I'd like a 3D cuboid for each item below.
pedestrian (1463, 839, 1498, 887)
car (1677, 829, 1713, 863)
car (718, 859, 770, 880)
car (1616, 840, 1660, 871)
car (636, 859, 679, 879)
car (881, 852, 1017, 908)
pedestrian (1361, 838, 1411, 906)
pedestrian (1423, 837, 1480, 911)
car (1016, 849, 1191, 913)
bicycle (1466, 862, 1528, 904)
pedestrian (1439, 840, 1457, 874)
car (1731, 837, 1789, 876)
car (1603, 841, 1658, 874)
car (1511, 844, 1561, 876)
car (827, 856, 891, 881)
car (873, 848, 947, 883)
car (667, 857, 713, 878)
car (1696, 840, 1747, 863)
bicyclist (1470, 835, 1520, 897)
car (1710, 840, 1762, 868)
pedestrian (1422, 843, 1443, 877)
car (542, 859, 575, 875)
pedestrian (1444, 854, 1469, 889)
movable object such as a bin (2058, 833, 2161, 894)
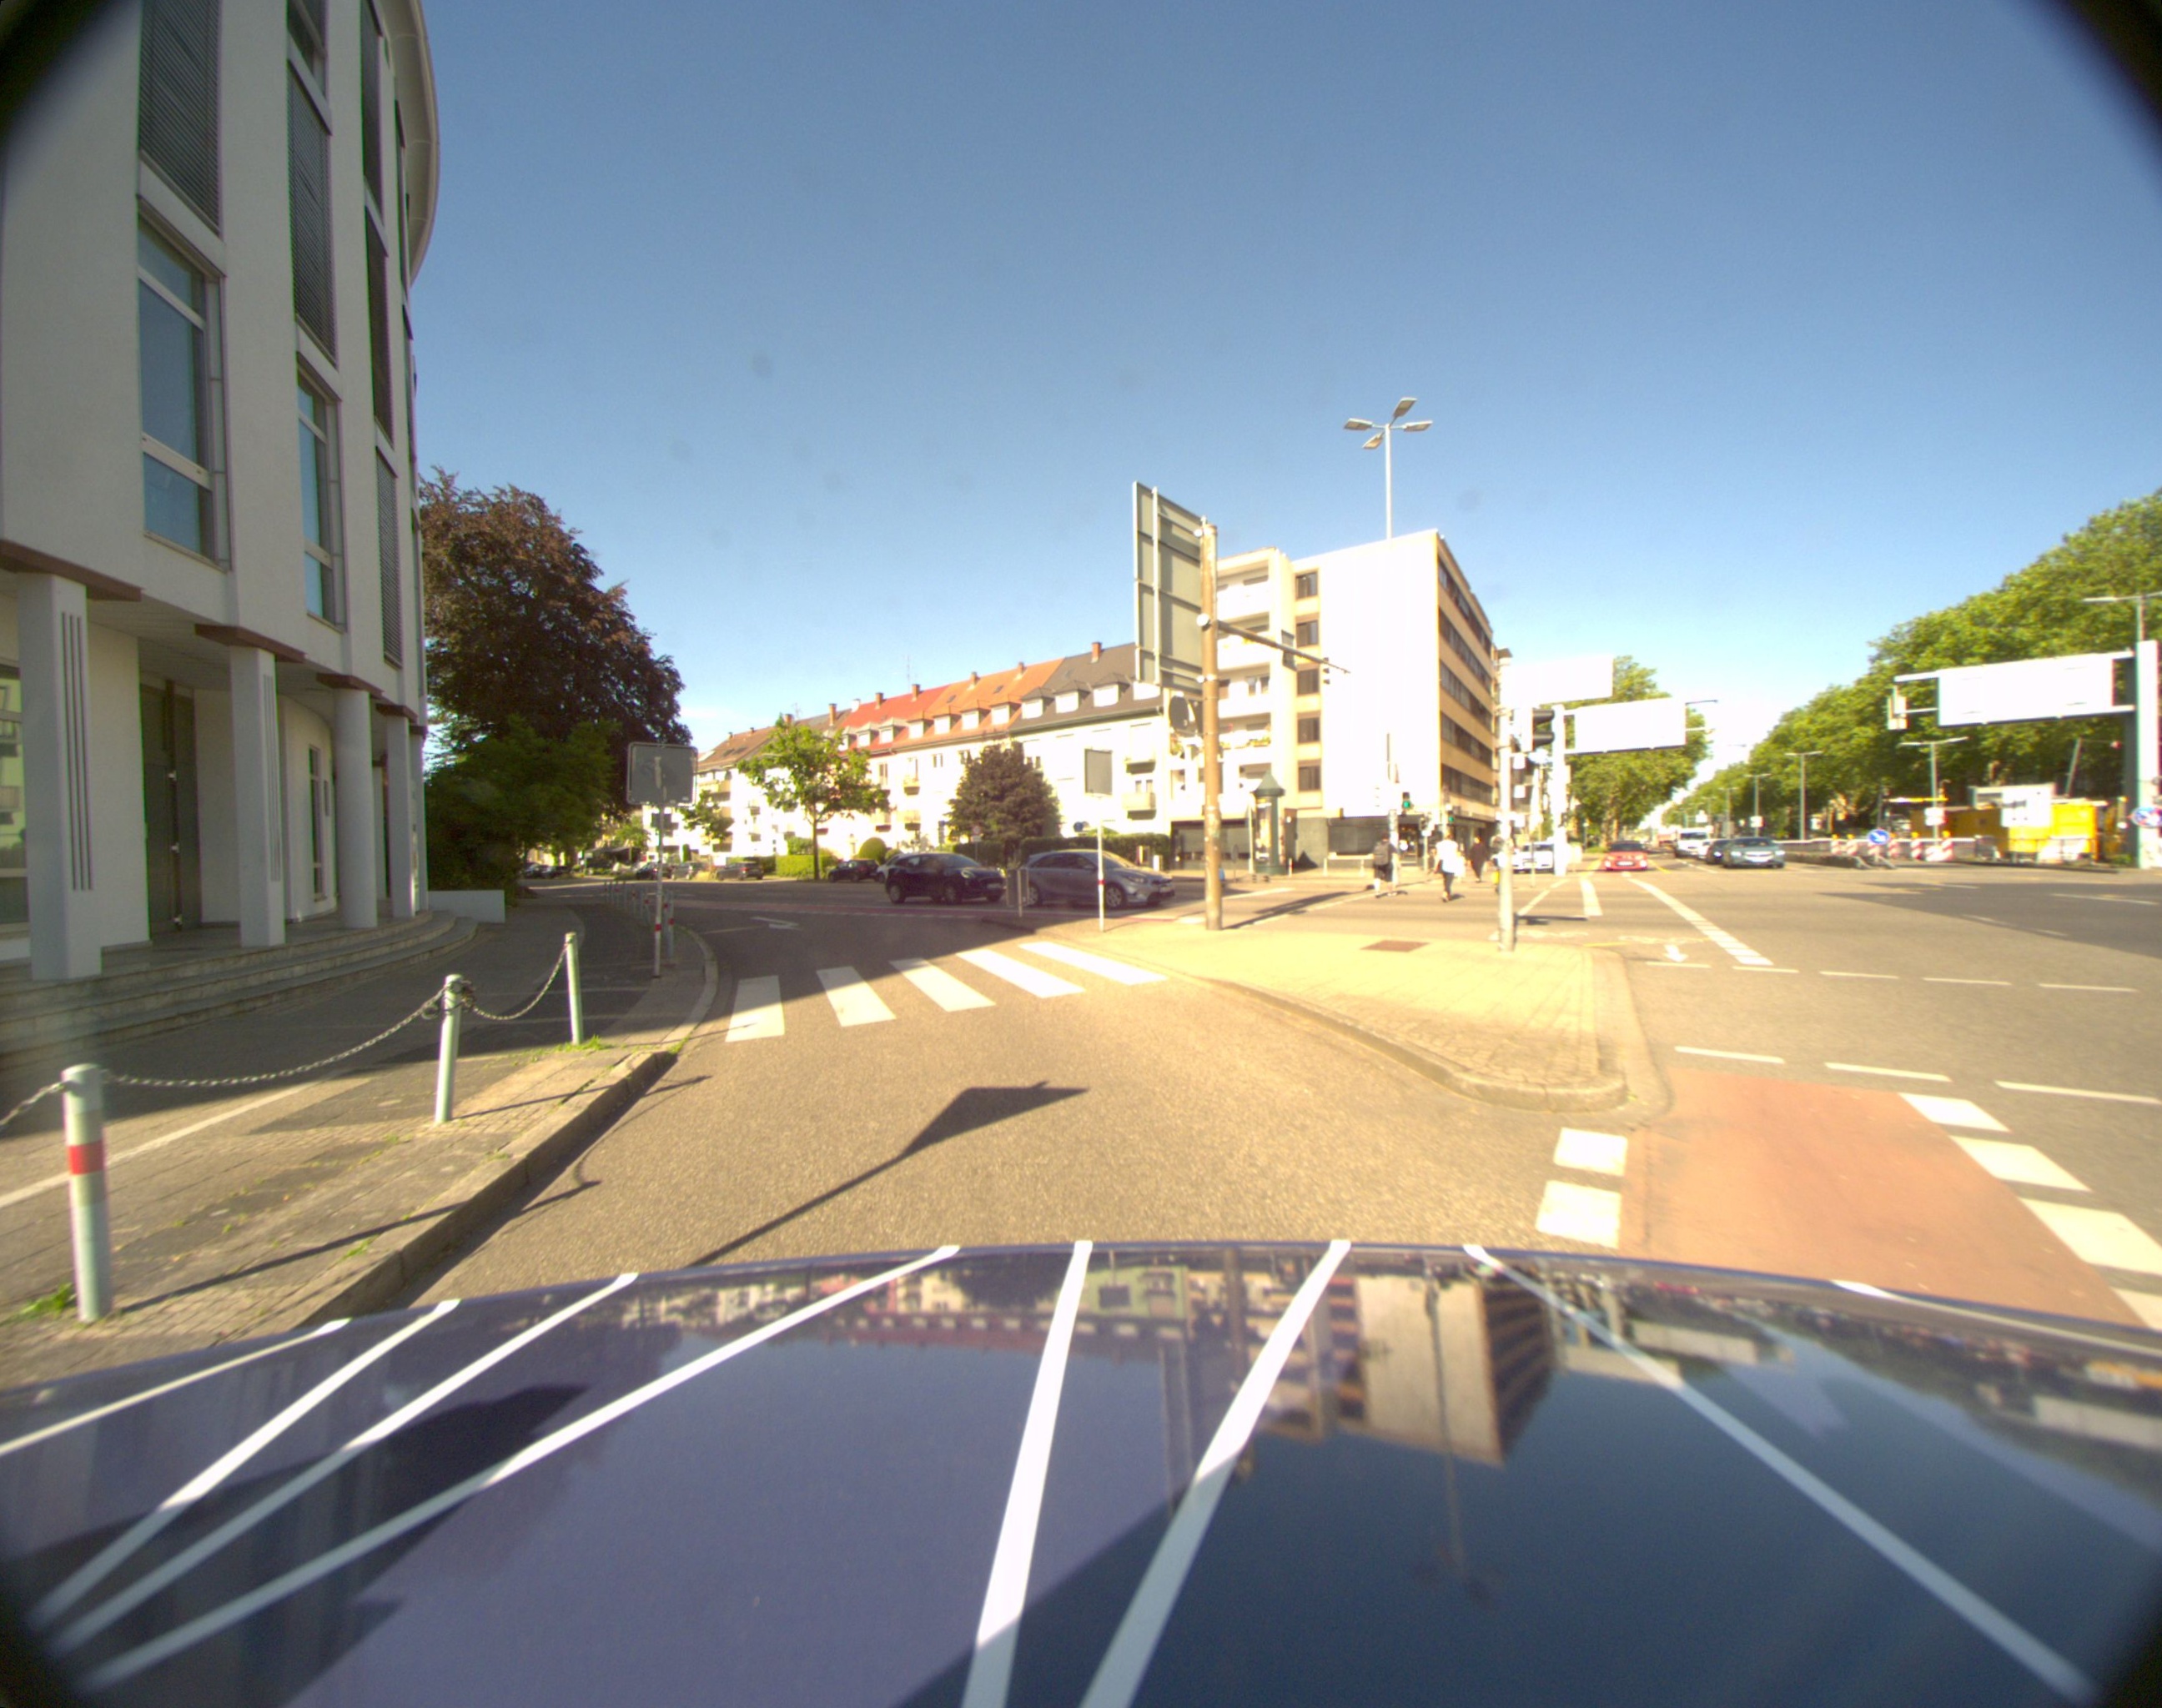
[{"bbox_3d":[13.934,0.316,26.495,0.896,1.613,0.722,-1,4,43],"label":"pedestrian"},{"bbox_3d":[48.045,-0.630,59.518,1.879,2.498,4.459,-1,1,35],"label":"car"},{"bbox_3d":[-25.420,1.179,57.265,3.994,1.449,1.808,-2,3,39],"label":"car"},{"bbox_3d":[33.751,0.070,45.994,1.879,1.511,4.006,-1,3,40],"label":"car"},{"bbox_3d":[-37.450,1.335,67.199,4.155,1.553,1.808,-2,3,39],"label":"car"},{"bbox_3d":[-4.000,0.756,22.731,4.063,1.483,1.700,-2,1,39],"label":"car"},{"bbox_3d":[7.731,0.431,19.271,0.797,1.634,0.984,-4,3,-1],"label":"pedestrian"},{"bbox_3d":[8.478,0.445,17.429,0.786,1.599,0.929,-4,3,-1],"label":"pedestrian"},{"bbox_3d":[0.513,0.655,19.151,4.046,1.400,1.888,-2,1,39],"label":"car"},{"bbox_3d":[10.728,0.713,19.585,1.906,0.984,0.864,-2,1,-44],"label":"bicycle"},{"bbox_3d":[18.867,0.145,39.044,0.718,1.670,0.698,-2,3,34],"label":"pedestrian"},{"bbox_3d":[32.156,0.100,36.058,1.879,1.511,4.006,-1,3,40],"label":"car"},{"bbox_3d":[27.022,0.154,37.325,1.879,1.510,4.008,-1,1,40],"label":"car"},{"bbox_3d":[23.468,0.304,39.098,1.879,1.510,4.560,-2,-1,35],"label":"car"},{"bbox_3d":[-14.147,0.927,48.267,4.039,1.422,1.808,-2,3,39],"label":"car"},{"bbox_3d":[-10.186,0.675,45.178,4.156,1.847,1.808,-2,3,35],"label":"car"},{"bbox_3d":[-32.576,1.108,63.261,4.155,1.553,1.808,-2,3,39],"label":"car"},{"bbox_3d":[43.196,-0.188,51.302,1.880,1.510,4.007,-1,1,29],"label":"car"},{"bbox_3d":[10.619,0.307,19.474,0.854,1.525,0.868,-4,2,-43],"label":"bicyclist"},{"bbox_3d":[36.819,-0.031,42.793,1.879,1.510,4.008,-1,1,36],"label":"car"},{"bbox_3d":[17.875,0.290,38.632,0.719,1.670,0.697,-3,3,7],"label":"pedestrian"},{"bbox_3d":[-56.958,1.455,82.776,3.912,1.553,1.808,-2,3,39],"label":"car"},{"bbox_3d":[13.414,0.610,27.124,0.646,1.196,0.527,-1,4,43],"label":"pedestrian"},{"bbox_3d":[47.788,0.399,35.247,1.994,2.462,4.006,-2,3,36],"label":"movable object such as a bin"}]
